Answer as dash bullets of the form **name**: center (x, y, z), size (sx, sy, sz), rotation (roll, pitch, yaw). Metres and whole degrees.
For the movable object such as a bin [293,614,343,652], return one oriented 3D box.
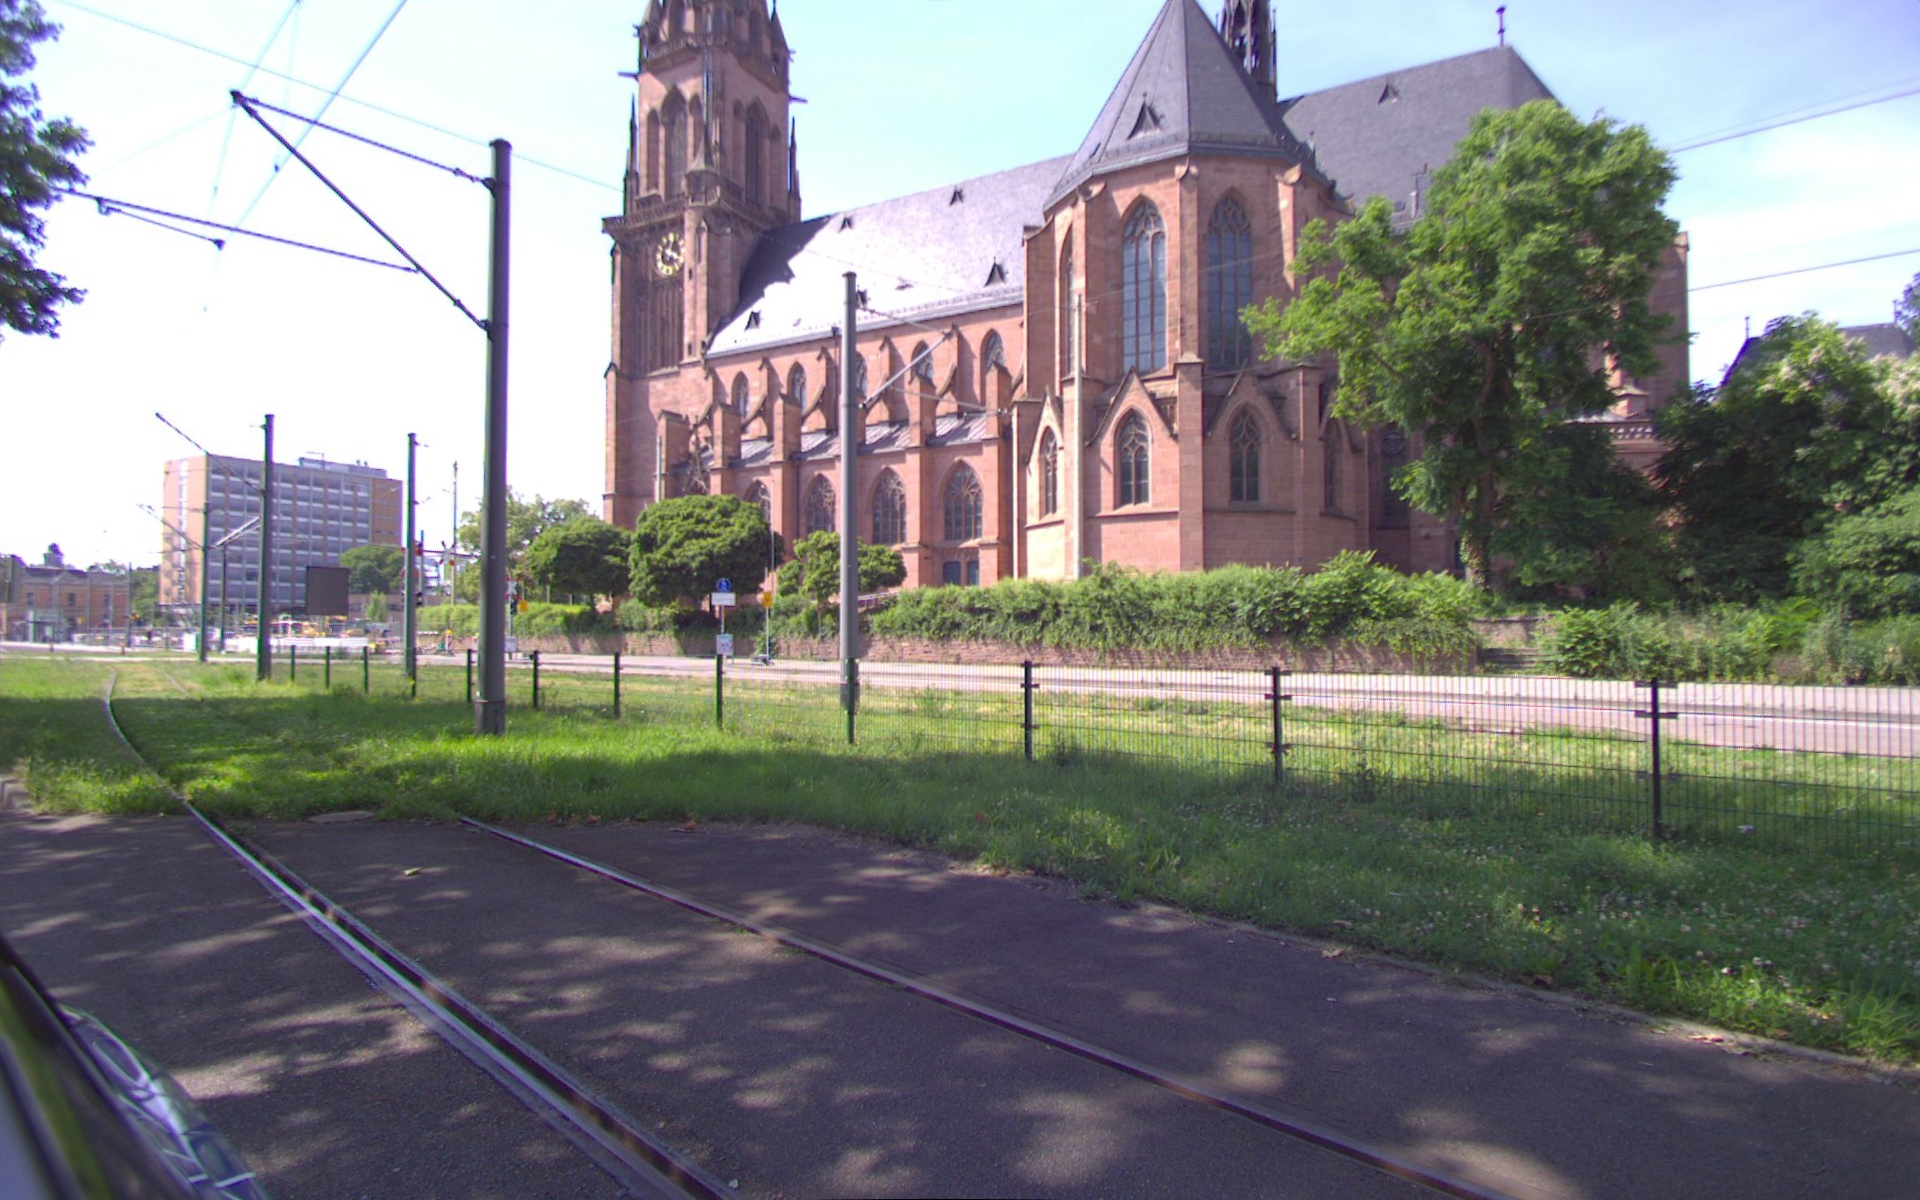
- **movable object such as a bin**: center (-66.919, 3.434, 105.612), size (2.904, 3.911, 3.327), rotation (0, -2, 8)
